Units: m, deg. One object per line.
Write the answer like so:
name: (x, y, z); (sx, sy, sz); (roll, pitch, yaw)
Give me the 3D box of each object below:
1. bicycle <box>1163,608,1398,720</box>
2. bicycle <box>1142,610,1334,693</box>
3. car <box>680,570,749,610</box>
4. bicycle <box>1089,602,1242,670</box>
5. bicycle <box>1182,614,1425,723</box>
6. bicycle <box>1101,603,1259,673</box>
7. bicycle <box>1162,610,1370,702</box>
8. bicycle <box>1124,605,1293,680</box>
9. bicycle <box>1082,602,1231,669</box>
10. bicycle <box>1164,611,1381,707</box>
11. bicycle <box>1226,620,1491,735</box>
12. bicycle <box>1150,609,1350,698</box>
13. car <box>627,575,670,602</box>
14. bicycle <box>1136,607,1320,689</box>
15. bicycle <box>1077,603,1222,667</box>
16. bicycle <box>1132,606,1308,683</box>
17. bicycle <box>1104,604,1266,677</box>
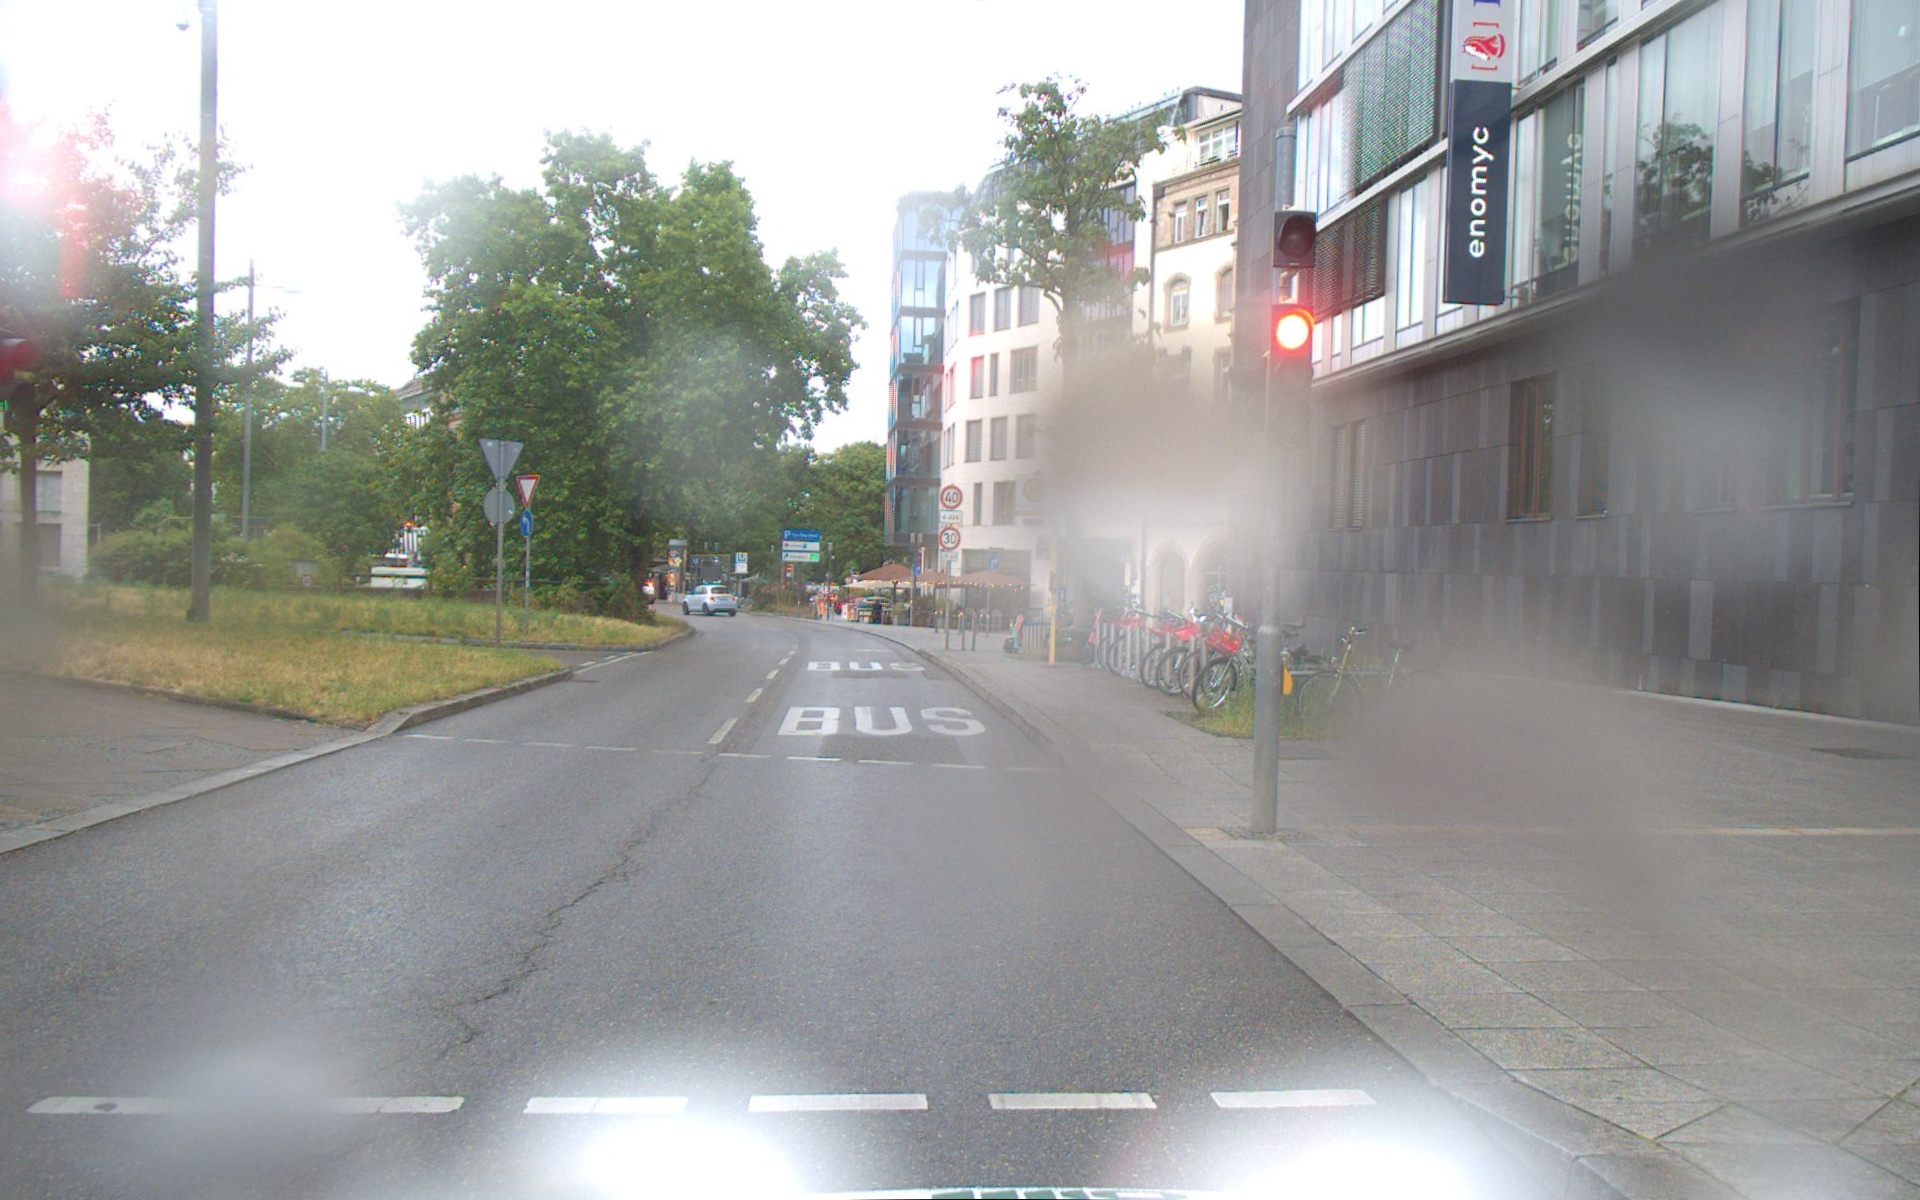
bicycle: (3.628, 0.724, 18.783); (2.487, 1.106, 0.677); (3, 0, -6)
bicycle: (3.775, 0.693, 22.543); (2.486, 1.078, 0.677); (1, 0, -6)
car: (-12.580, -0.512, 84.486); (1.974, 1.675, 3.958); (6, 0, -32)
bicycle: (3.478, 0.606, 28.103); (2.486, 1.106, 0.677); (1, 0, -6)
bicycle: (3.716, 0.736, 17.981); (2.487, 1.106, 0.677); (1, 0, -6)
bicycle: (3.613, 0.624, 27.216); (2.486, 1.106, 0.677); (1, 0, -6)
bicycle: (3.850, 0.703, 20.867); (2.486, 1.106, 0.677); (1, 0, -6)
bicycle: (3.837, 0.651, 25.628); (2.486, 1.106, 0.677); (1, 0, -6)
bicycle: (3.420, 0.615, 28.849); (2.486, 1.106, 0.677); (1, 0, -6)
bicycle: (3.766, 0.704, 20.011); (2.486, 1.106, 0.677); (1, 0, -6)
bicycle: (3.960, 0.767, 16.508); (2.487, 1.075, 0.677); (1, 0, -6)
bicycle: (3.783, 0.694, 21.676); (2.486, 1.106, 0.677); (1, 0, -6)
car: (-20.920, -0.791, 111.112); (2.148, 1.730, 3.976); (2, 0, -21)
bicycle: (3.790, 0.675, 23.452); (2.486, 1.106, 0.677); (1, 0, -6)
bicycle: (3.374, 0.621, 29.571); (2.486, 1.106, 0.627); (1, 0, -6)
bicycle: (3.863, 0.657, 24.650); (2.486, 1.106, 0.677); (1, 0, -6)
bicycle: (3.590, 0.642, 26.463); (2.486, 1.106, 0.677); (1, 0, -6)
